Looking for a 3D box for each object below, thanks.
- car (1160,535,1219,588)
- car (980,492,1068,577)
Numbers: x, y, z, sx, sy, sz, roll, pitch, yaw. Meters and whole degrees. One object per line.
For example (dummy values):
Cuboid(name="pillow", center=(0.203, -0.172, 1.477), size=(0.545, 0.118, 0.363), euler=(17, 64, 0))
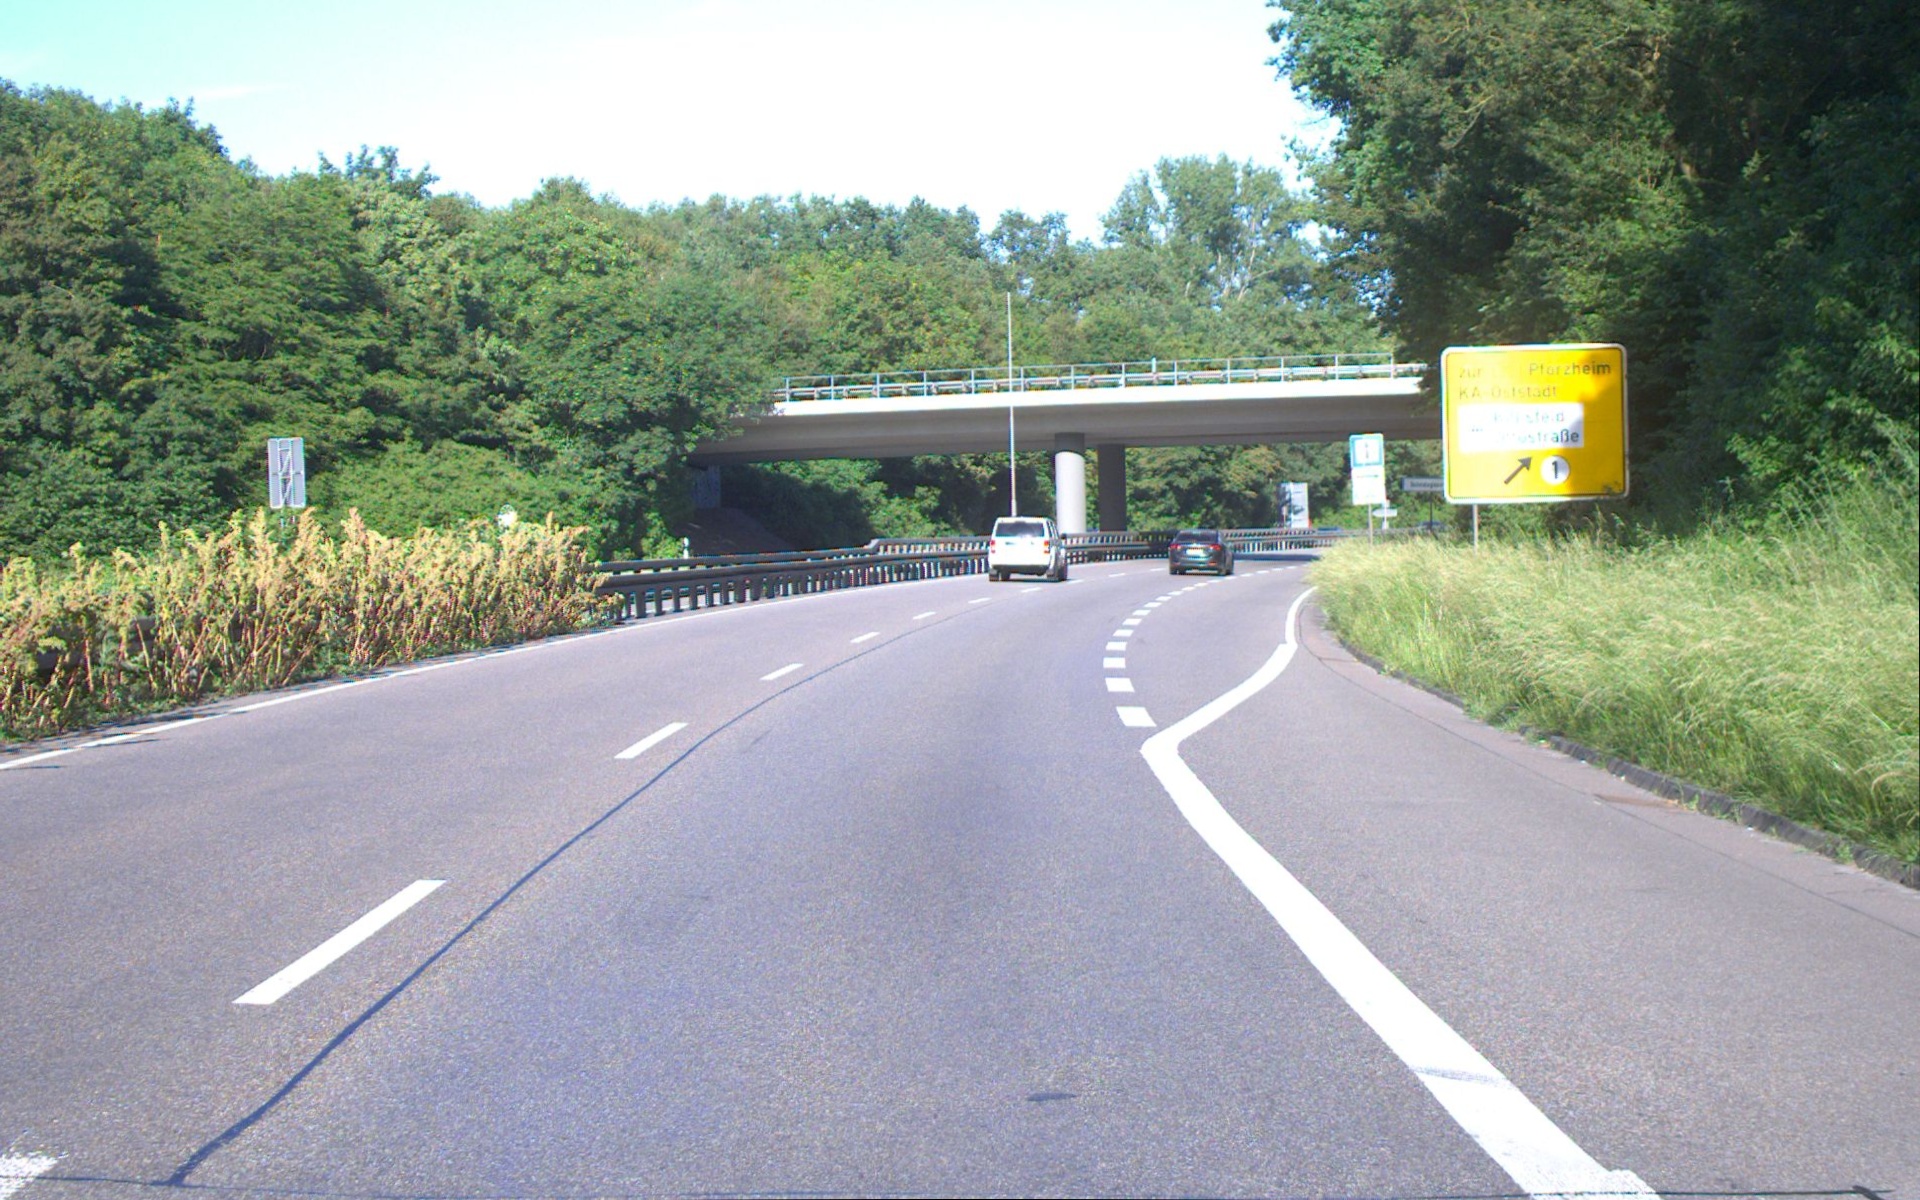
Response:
Cuboid(name="car", center=(7.352, -1.266, 110.418), size=(1.739, 1.656, 3.945), euler=(0, 1, 2))
Cuboid(name="car", center=(1.791, -1.790, 94.544), size=(1.994, 2.269, 3.999), euler=(0, 1, 7))
